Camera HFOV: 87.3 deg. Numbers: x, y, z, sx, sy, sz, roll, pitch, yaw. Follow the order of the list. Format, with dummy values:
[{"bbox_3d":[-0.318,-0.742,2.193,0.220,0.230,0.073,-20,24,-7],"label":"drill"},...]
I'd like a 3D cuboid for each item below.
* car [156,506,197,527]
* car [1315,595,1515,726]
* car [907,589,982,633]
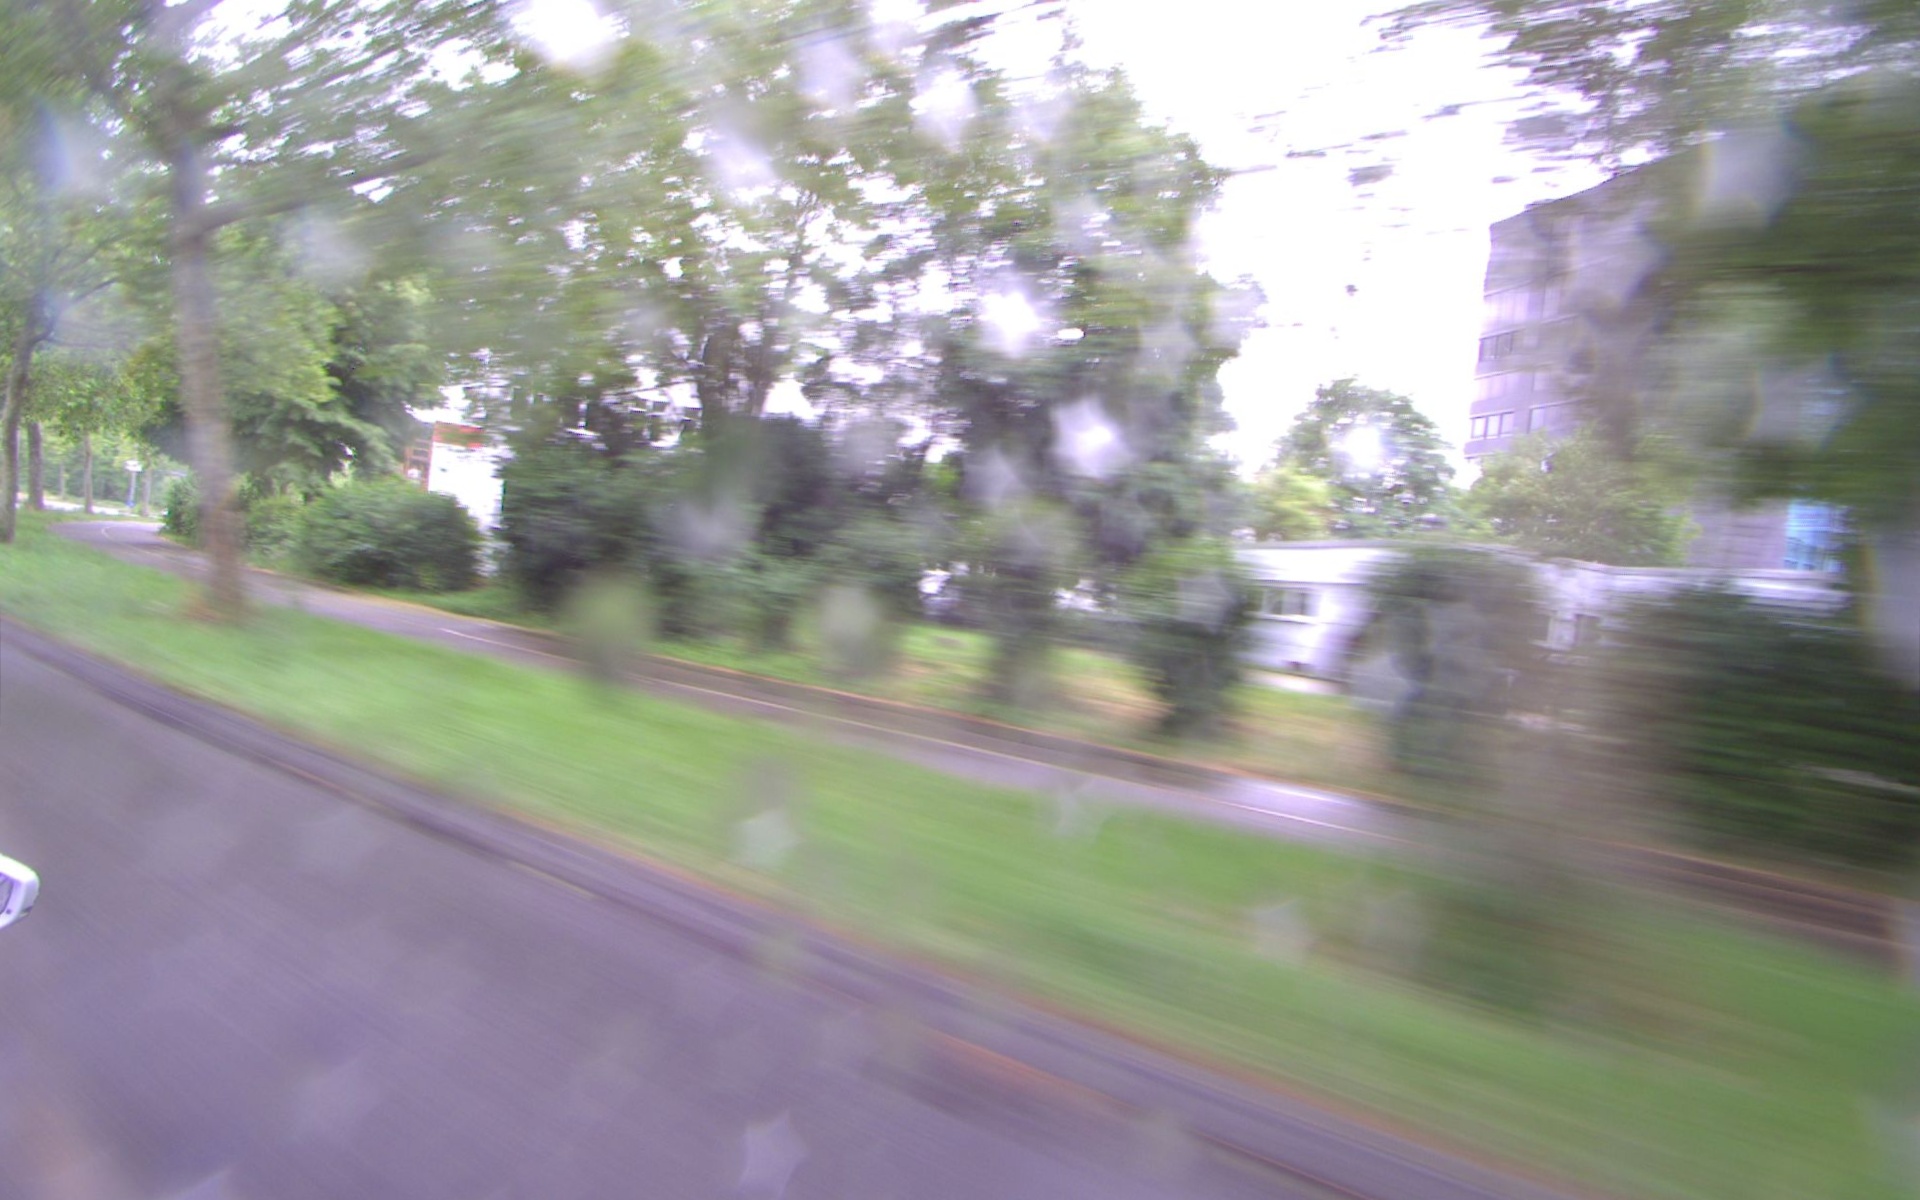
[{"bbox_3d":[-79.306,-8.440,101.892,1.760,1.574,3.984,9,0,-17],"label":"car"},{"bbox_3d":[7.219,1.021,15.728,1.742,1.500,4.144,9,-1,38],"label":"car"},{"bbox_3d":[-0.640,0.394,39.034,1.577,1.374,3.689,8,-1,-21],"label":"car"}]
